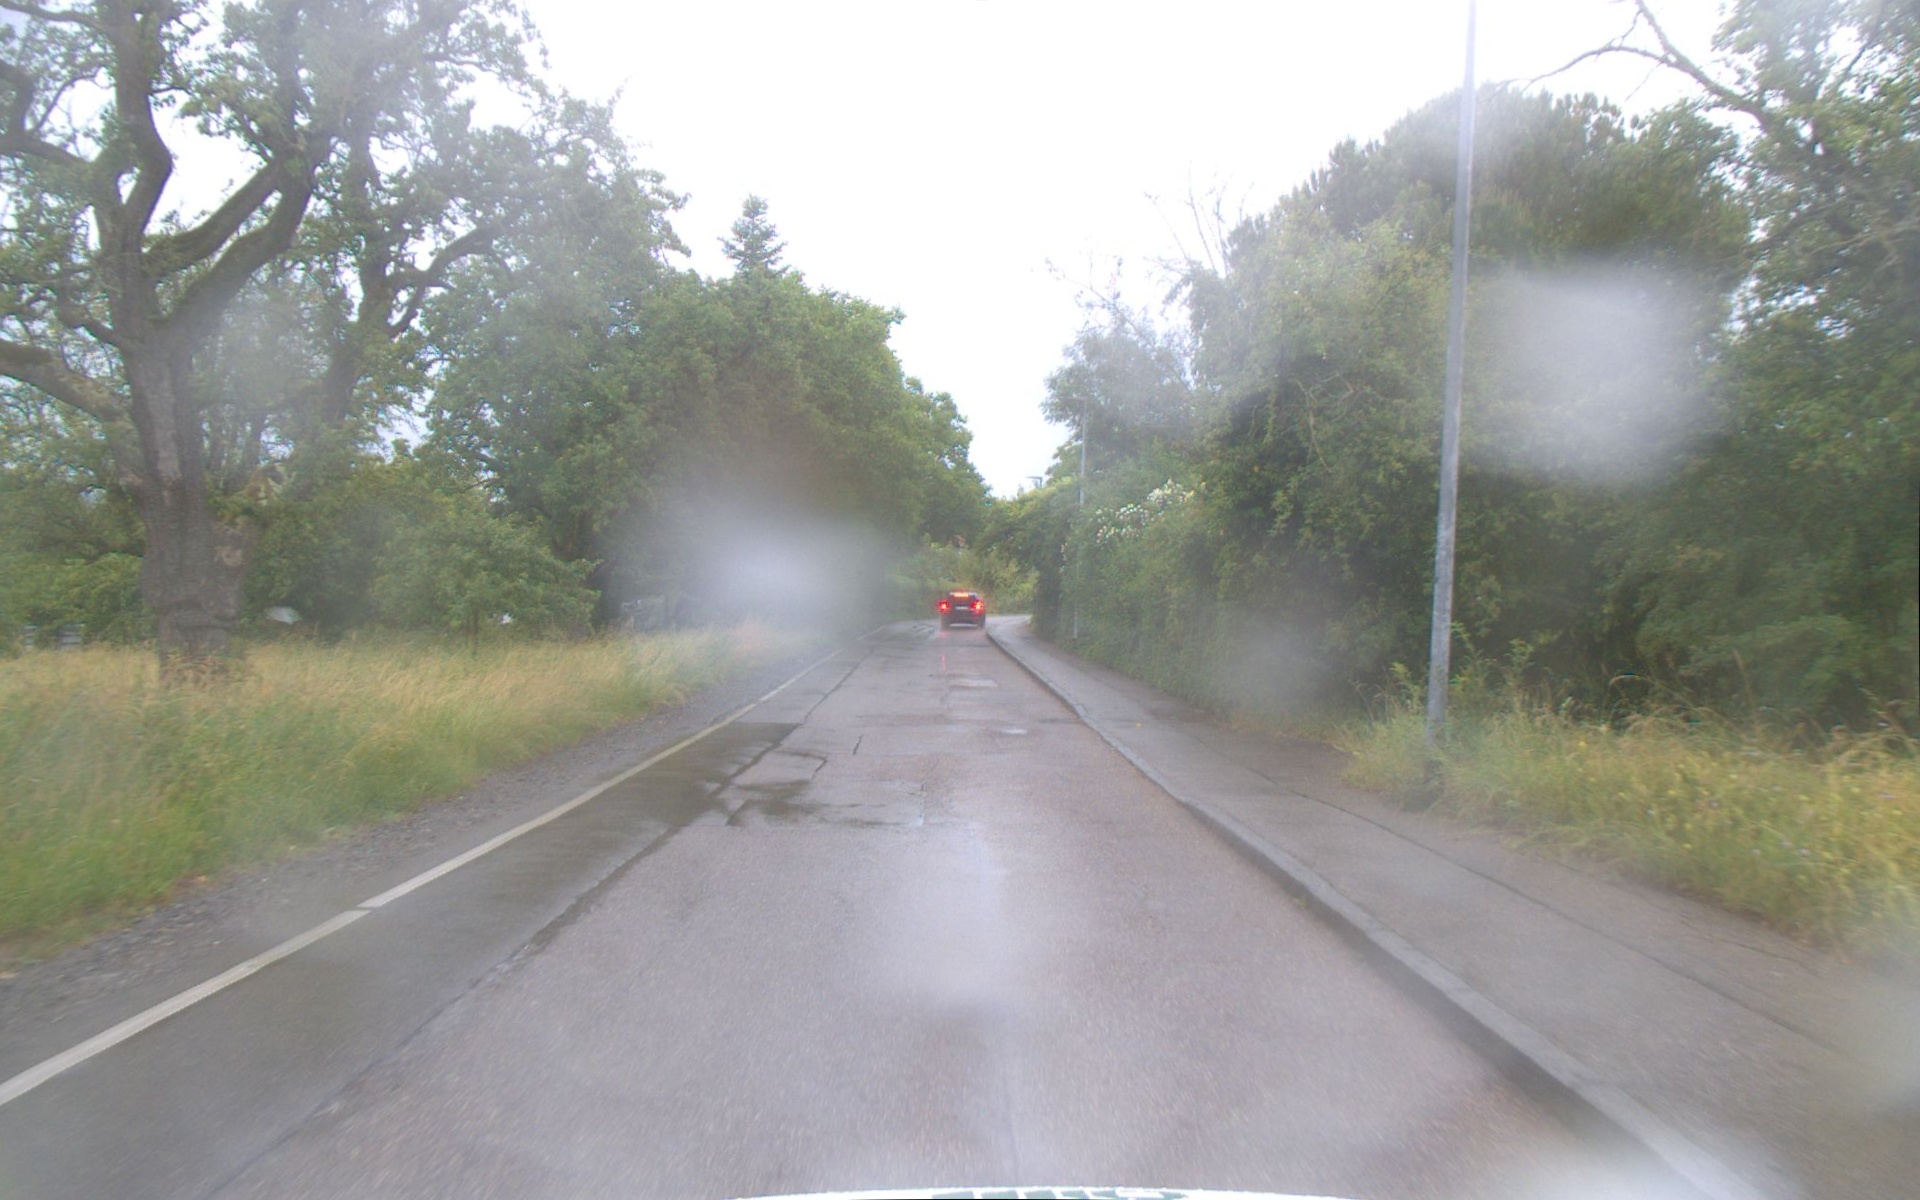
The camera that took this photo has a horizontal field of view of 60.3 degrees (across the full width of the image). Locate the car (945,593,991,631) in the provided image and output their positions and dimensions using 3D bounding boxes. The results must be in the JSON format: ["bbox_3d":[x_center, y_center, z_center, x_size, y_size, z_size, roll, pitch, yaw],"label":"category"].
[{"bbox_3d":[0.361,0.514,68.954,1.600,1.475,3.546,1,-1,5],"label":"car"}]
